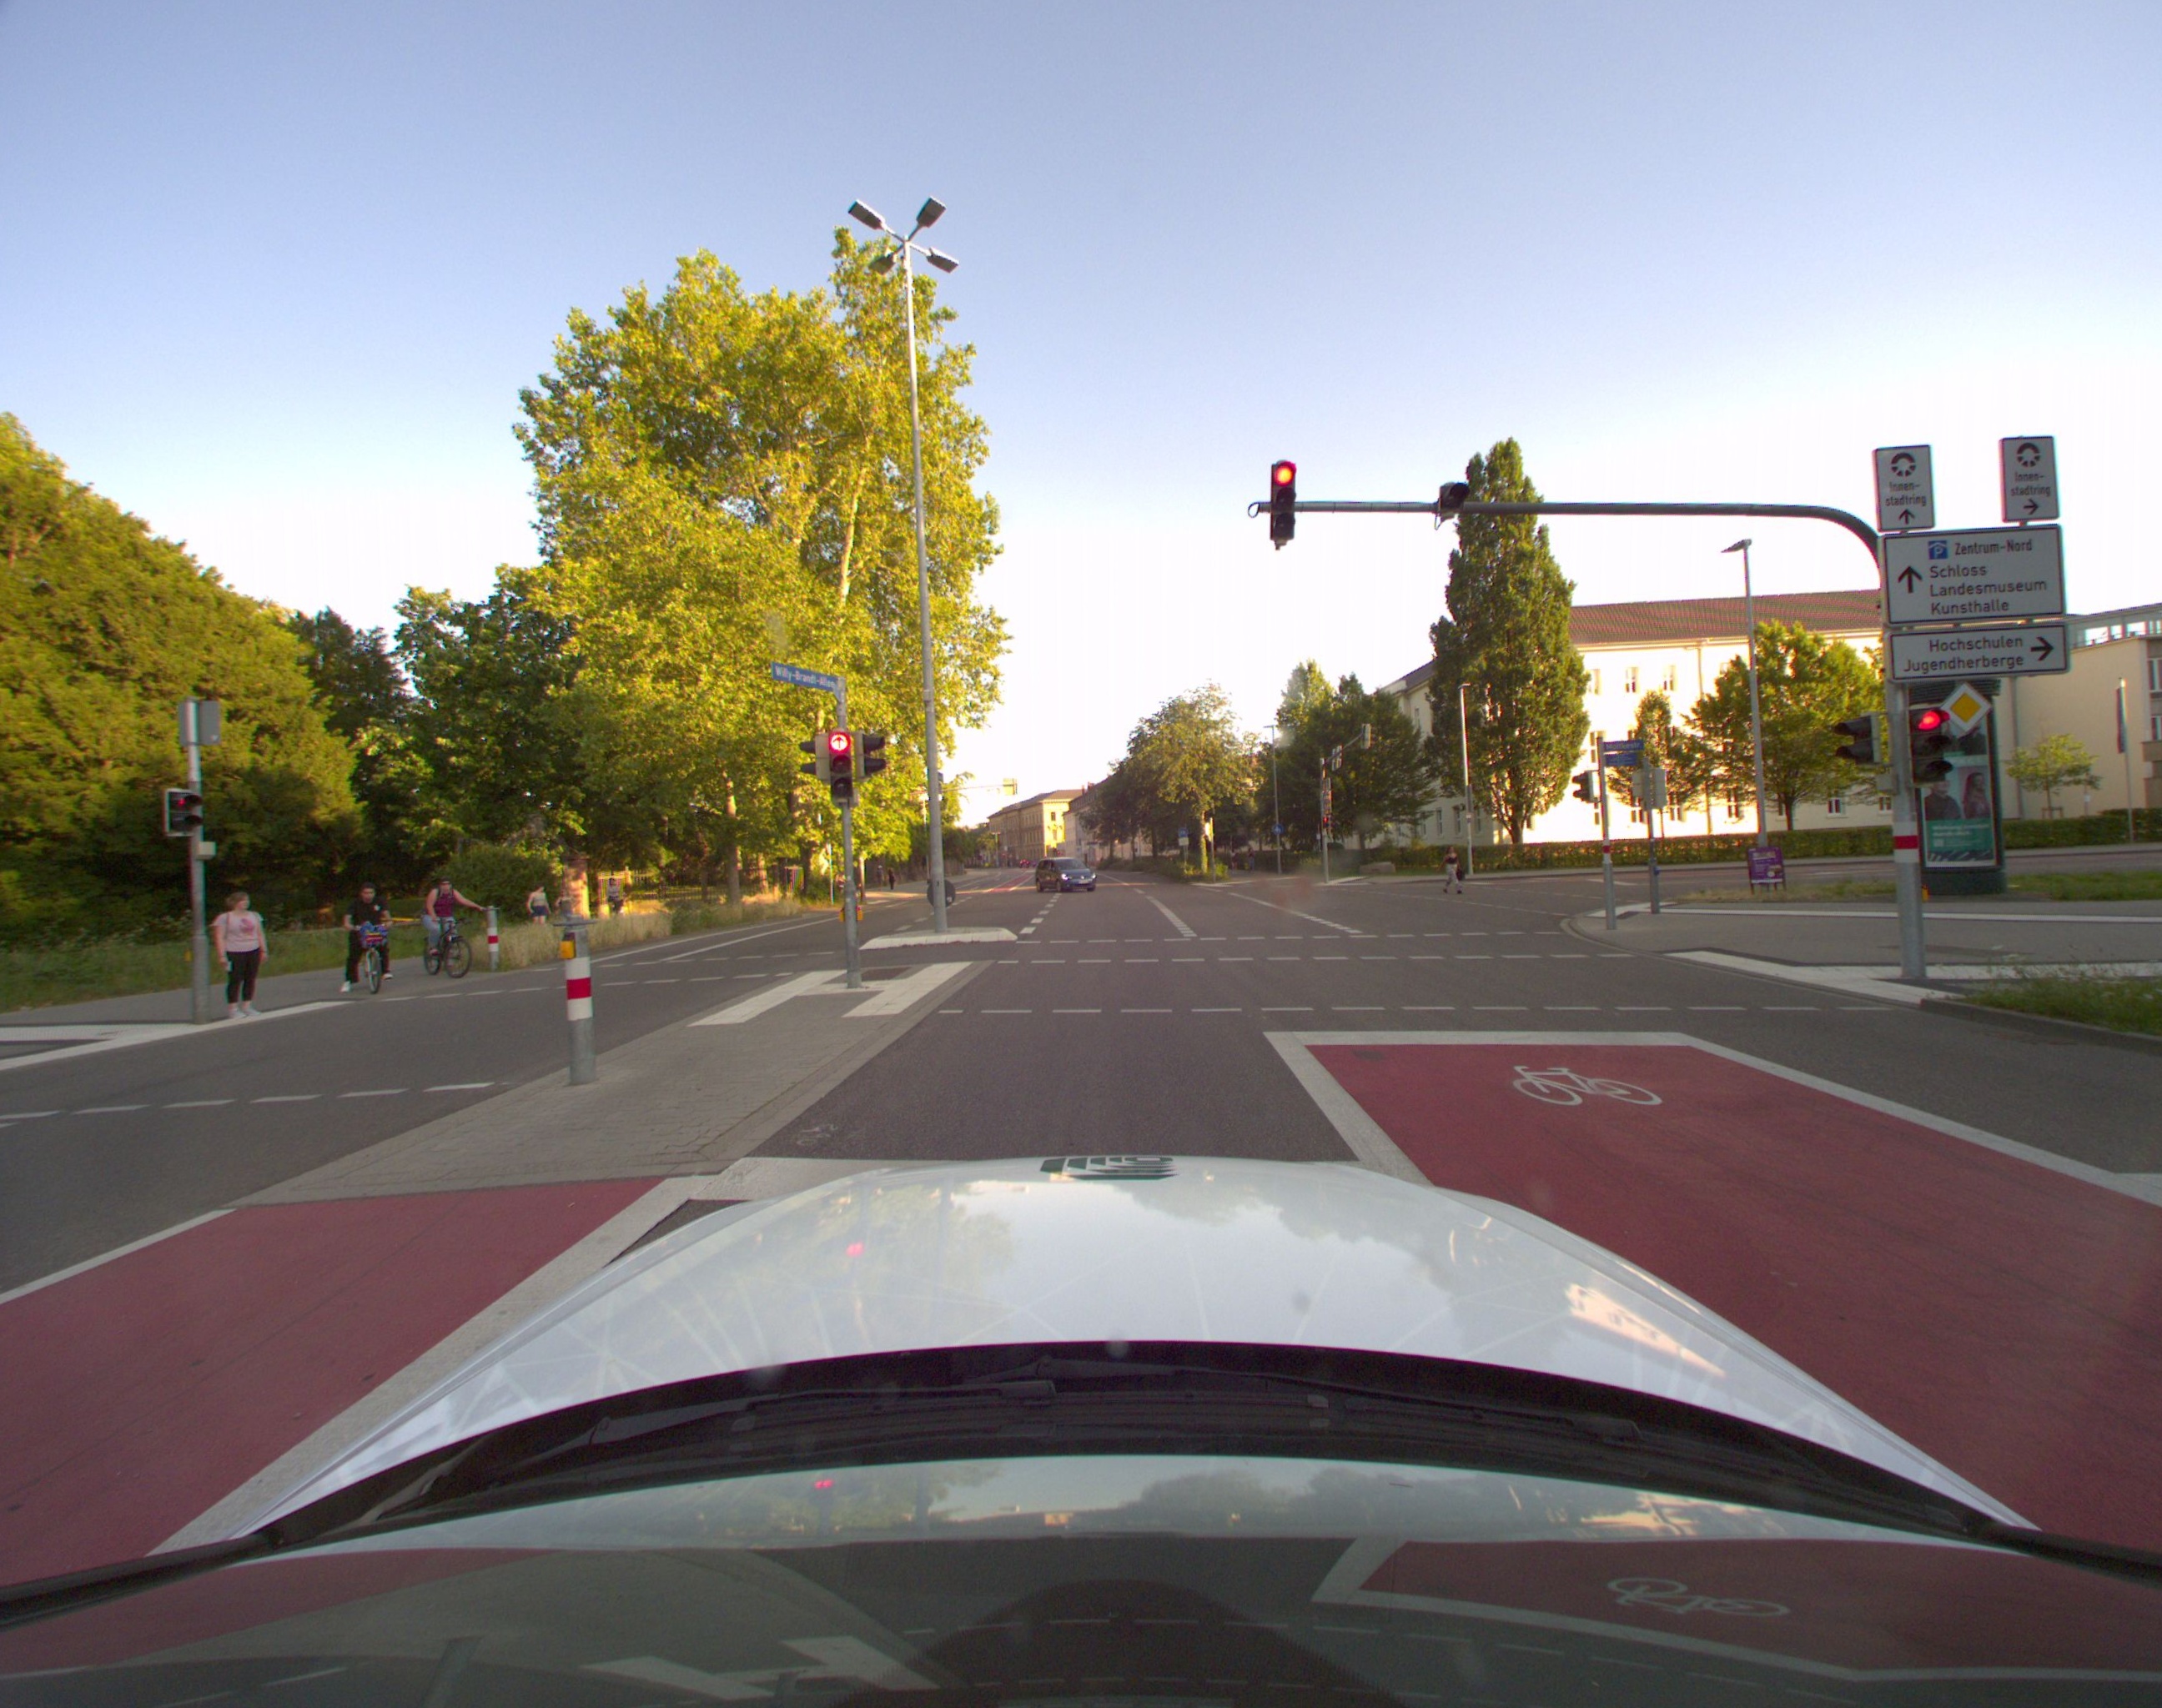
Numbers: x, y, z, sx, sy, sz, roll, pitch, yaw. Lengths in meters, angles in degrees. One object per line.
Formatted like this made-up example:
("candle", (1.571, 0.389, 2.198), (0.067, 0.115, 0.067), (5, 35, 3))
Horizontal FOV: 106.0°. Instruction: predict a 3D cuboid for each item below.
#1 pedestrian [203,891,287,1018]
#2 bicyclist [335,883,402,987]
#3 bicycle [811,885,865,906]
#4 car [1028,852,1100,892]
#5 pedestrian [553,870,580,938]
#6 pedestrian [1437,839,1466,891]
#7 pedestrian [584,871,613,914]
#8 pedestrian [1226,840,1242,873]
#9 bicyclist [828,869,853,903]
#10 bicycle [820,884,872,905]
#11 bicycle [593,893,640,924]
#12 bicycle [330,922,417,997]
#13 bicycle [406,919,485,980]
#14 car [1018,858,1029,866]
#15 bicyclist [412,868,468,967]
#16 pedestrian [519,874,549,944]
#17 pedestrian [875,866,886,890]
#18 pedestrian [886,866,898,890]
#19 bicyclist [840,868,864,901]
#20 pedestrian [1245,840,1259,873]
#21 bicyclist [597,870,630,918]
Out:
("pedestrian", (-11.759, 1.395, 11.465), (0.604, 1.695, 0.499), (-3, 0, 3))
("bicyclist", (-11.847, 1.323, 13.548), (0.631, 1.649, 0.634), (-3, -1, 32))
("bicycle", (-12.176, 2.082, 40.778), (2.420, 0.924, 0.775), (-3, 0, 2))
("car", (-0.870, 0.846, 38.607), (1.858, 1.720, 4.261), (-3, 0, -24))
("pedestrian", (-15.507, 1.488, 24.541), (0.598, 2.014, 0.634), (-1, -1, -38))
("pedestrian", (11.790, 0.340, 25.934), (0.597, 1.636, 0.692), (-2, 0, 4))
("pedestrian", (-23.242, 1.825, 39.249), (0.759, 2.014, 1.075), (-2, -1, -5))
("pedestrian", (9.557, 0.183, 50.847), (0.867, 2.014, 0.723), (-2, -1, 1))
("bicyclist", (-12.049, 1.587, 40.782), (0.954, 1.631, 0.753), (-3, 0, 2))
("bicycle", (-12.252, 2.091, 42.443), (2.420, 0.924, 0.775), (-3, 0, 2))
("bicycle", (-17.166, 1.988, 30.049), (2.267, 1.033, 0.746), (-2, -1, 40))
("bicycle", (-11.716, 1.719, 13.471), (1.548, 1.111, 0.637), (-3, 0, 32))
("bicycle", (-11.853, 1.759, 15.172), (1.749, 1.030, 0.583), (-3, 0, 32))
("car", (-12.044, 1.736, 170.225), (1.821, 1.588, 3.983), (-4, 0, -12))
("bicyclist", (-12.021, 1.180, 15.272), (0.631, 1.780, 0.580), (-3, -1, 32))
("pedestrian", (-16.151, 1.596, 24.041), (0.654, 2.014, 0.599), (-1, -1, -37))
("pedestrian", (-13.791, 1.656, 56.112), (0.533, 1.596, 0.591), (-3, 0, 1))
("pedestrian", (-13.007, 1.635, 56.060), (0.597, 1.573, 0.646), (-3, 0, 1))
("bicyclist", (-11.946, 1.586, 42.434), (0.954, 1.631, 0.753), (-3, 0, 2))
("pedestrian", (10.528, 0.151, 50.213), (0.633, 2.014, 0.720), (-2, -1, -2))
("bicyclist", (-17.250, 1.457, 30.061), (0.932, 1.728, 0.762), (-2, -1, 40))
